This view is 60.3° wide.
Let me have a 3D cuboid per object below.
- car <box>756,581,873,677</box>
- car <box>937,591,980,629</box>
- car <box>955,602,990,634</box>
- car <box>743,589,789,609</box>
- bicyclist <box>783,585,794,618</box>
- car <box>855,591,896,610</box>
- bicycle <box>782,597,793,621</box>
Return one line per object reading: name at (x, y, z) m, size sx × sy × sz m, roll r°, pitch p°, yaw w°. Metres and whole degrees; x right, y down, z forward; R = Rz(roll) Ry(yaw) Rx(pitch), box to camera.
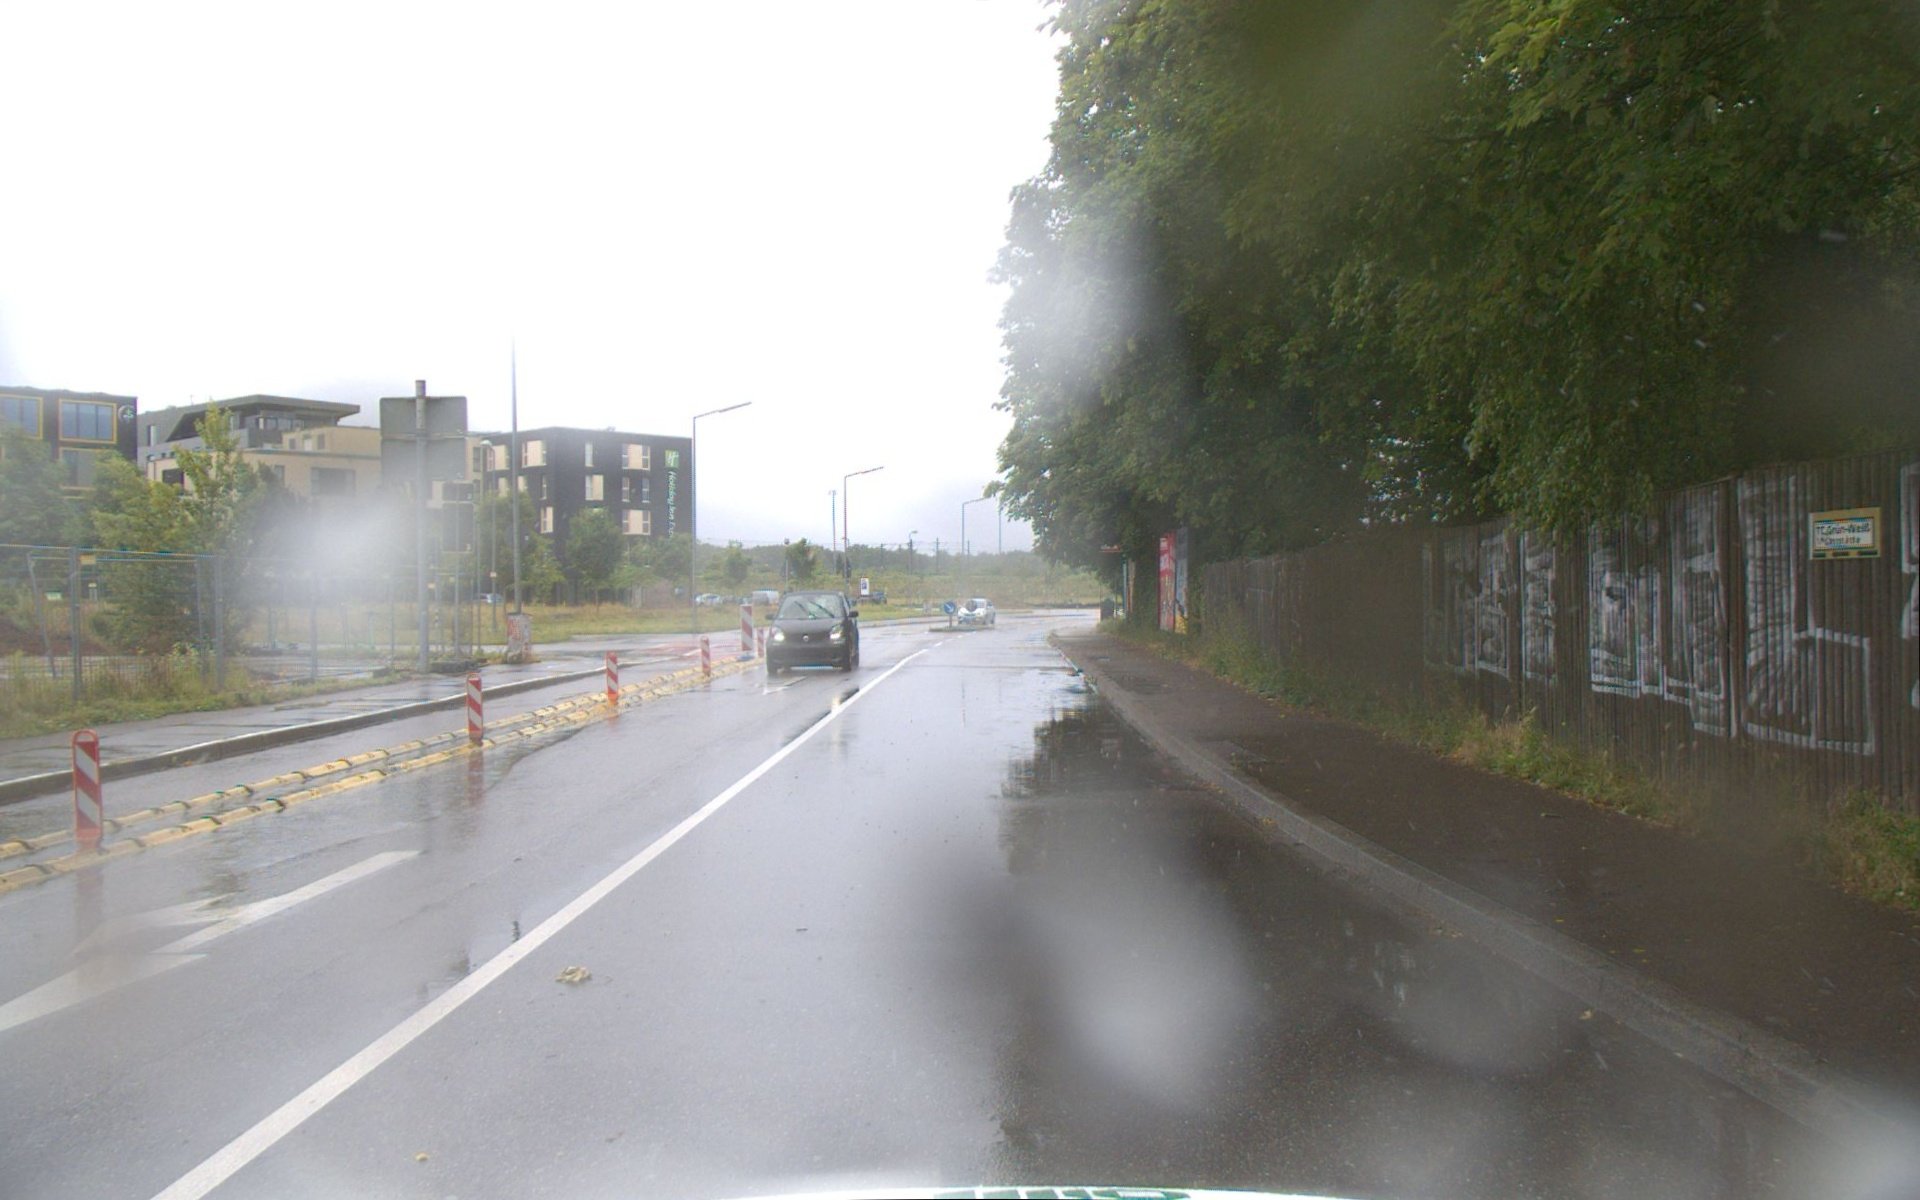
car at (-2.854, 0.543, 33.264) m, size 1.952 × 1.803 × 4.000 m, roll 0°, pitch 0°, yaw 0°
car at (-0.062, 0.515, 84.423) m, size 1.952 × 1.803 × 4.001 m, roll -1°, pitch -2°, yaw 3°
car at (0.787, 1.126, 100.448) m, size 1.952 × 1.803 × 4.001 m, roll -1°, pitch -2°, yaw 3°
car at (-18.123, -0.078, 154.748) m, size 3.968 × 1.803 × 1.968 m, roll 2°, pitch -3°, yaw -44°
bicyclist at (-7.479, 0.070, 72.068) m, size 0.435 × 1.428 × 0.550 m, roll 0°, pitch -2°, yaw -3°
car at (-8.795, 0.066, 172.422) m, size 3.968 × 1.803 × 1.968 m, roll 2°, pitch -3°, yaw -44°
bicycle at (-7.493, 0.398, 71.982) m, size 0.418 × 1.037 × 1.610 m, roll 0°, pitch 0°, yaw -4°
